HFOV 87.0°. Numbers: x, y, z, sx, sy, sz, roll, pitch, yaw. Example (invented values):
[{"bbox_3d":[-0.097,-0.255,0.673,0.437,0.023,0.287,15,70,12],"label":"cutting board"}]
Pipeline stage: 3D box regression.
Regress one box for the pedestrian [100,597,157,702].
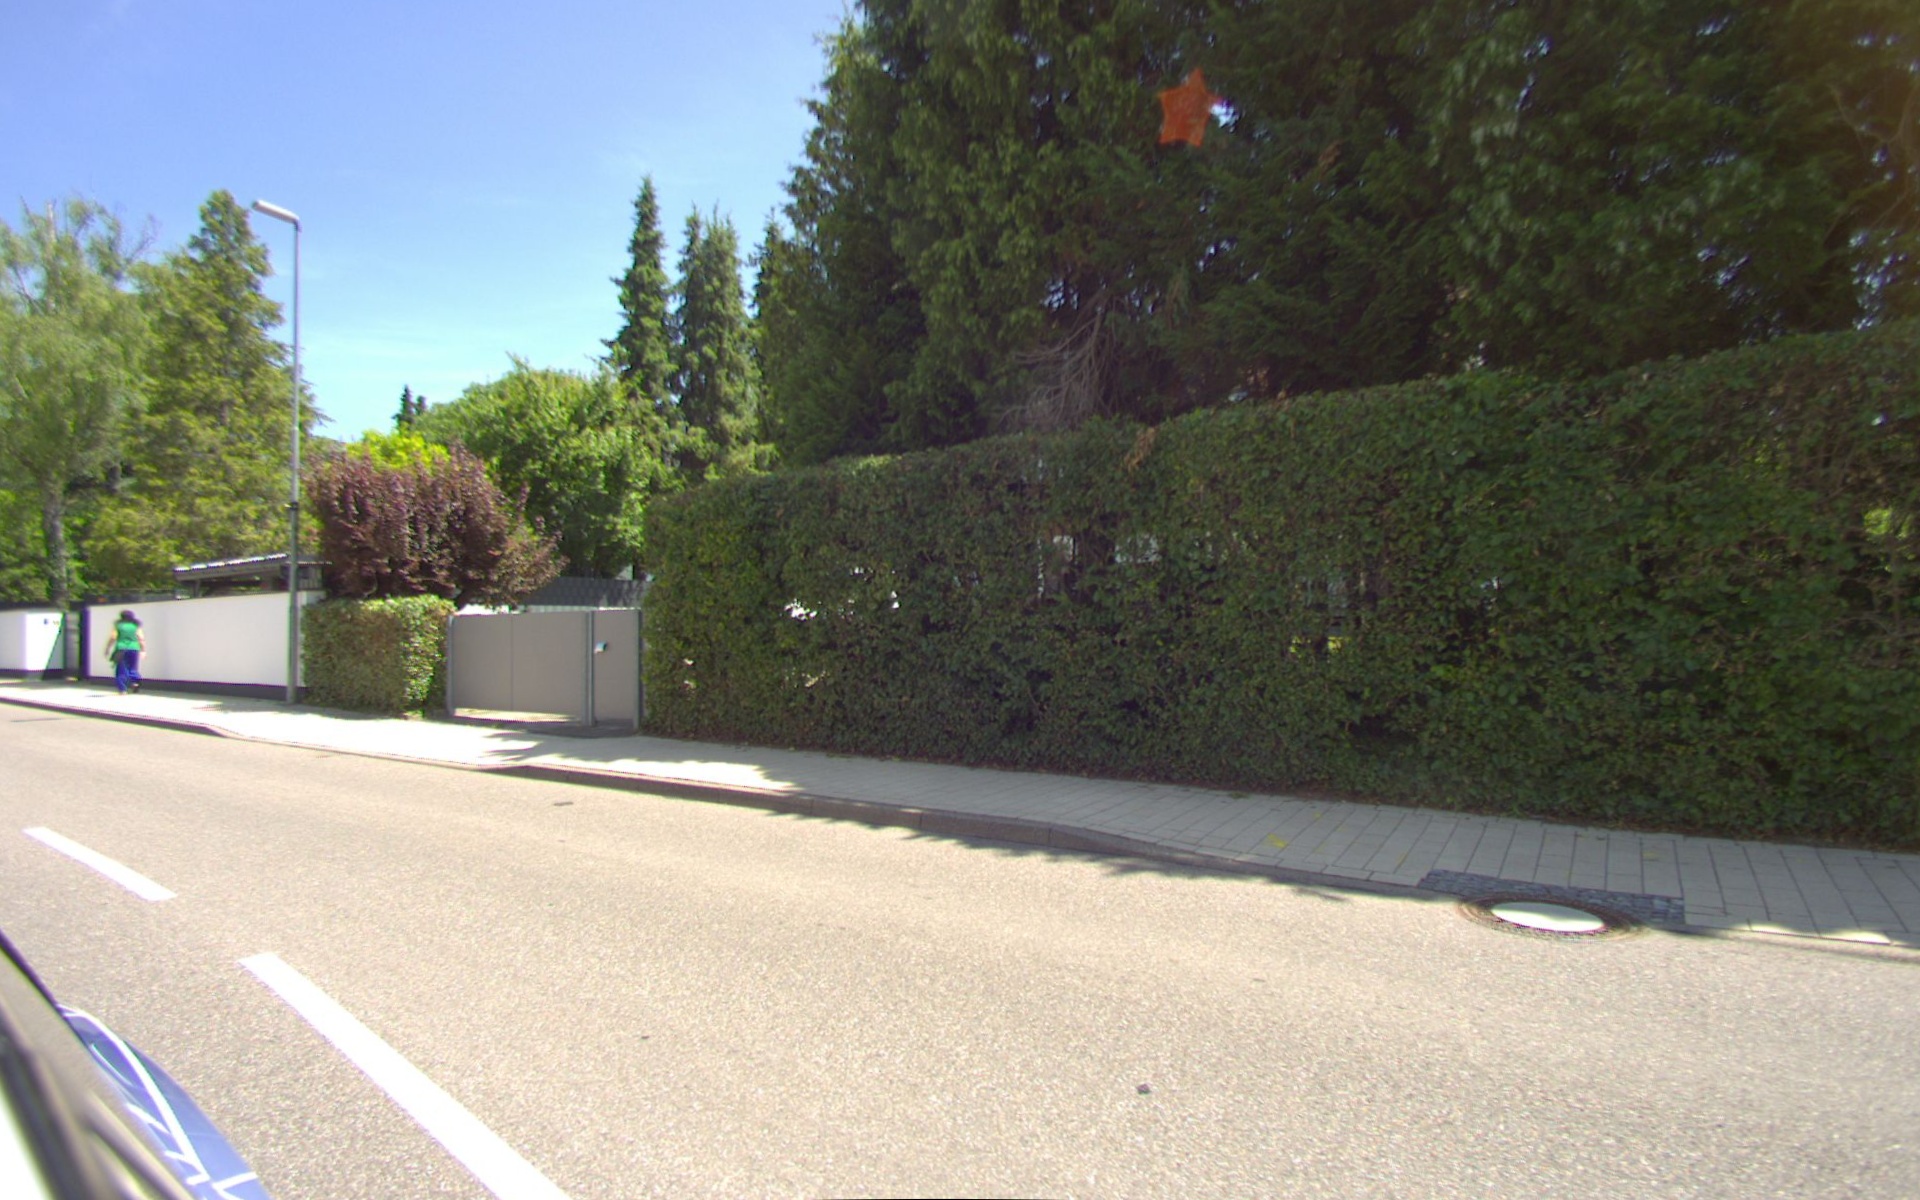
[{"bbox_3d":[-16.557,0.954,20.155,0.803,2.029,0.714,-1,0,38],"label":"pedestrian"}]
